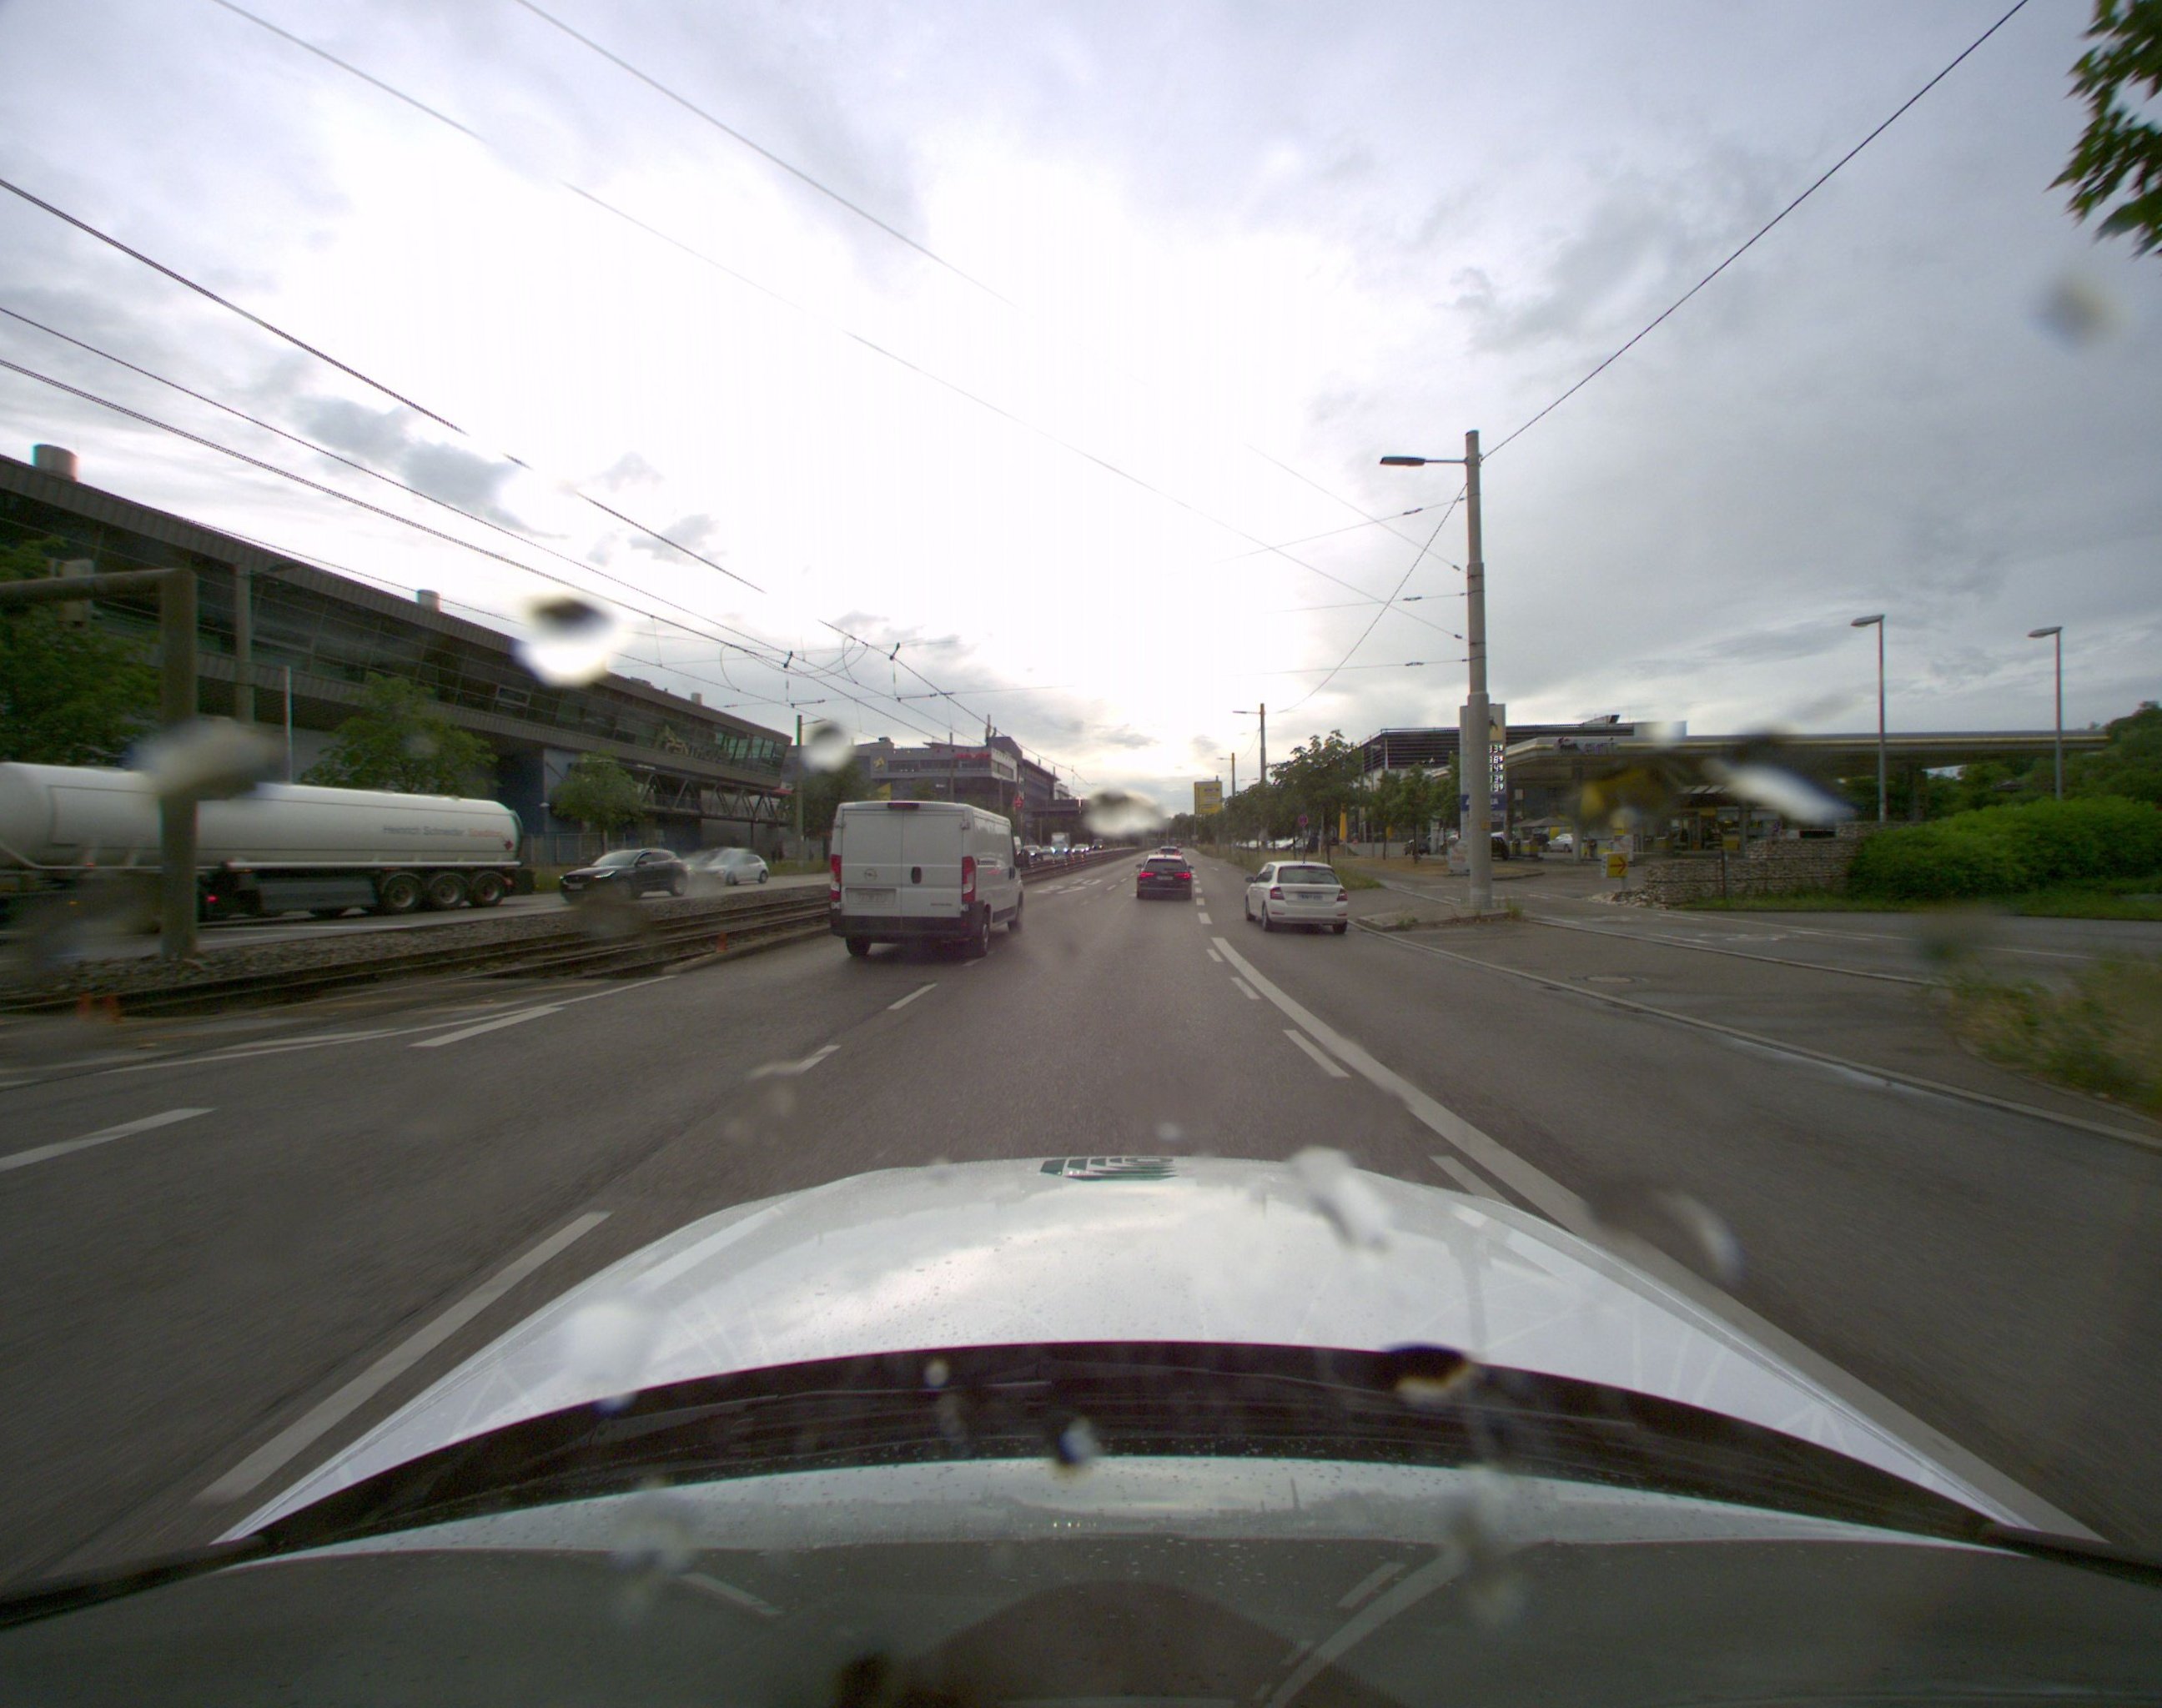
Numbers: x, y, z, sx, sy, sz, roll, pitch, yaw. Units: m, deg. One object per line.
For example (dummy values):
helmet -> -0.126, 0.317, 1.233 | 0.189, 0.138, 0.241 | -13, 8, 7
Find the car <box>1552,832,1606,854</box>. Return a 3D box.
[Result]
car -> 38.084, -0.797, 62.419 | 1.983, 1.596, 4.007 | -1, 0, 6

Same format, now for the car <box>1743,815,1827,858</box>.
car -> 34.807, -0.841, 40.361 | 1.666, 2.013, 3.144 | 2, 1, 7

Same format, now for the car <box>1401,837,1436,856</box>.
car -> 30.055, -0.665, 72.638 | 1.782, 1.591, 4.007 | -1, 0, 6

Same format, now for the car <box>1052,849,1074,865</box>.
car -> -2.181, 0.373, 99.120 | 2.148, 1.885, 4.308 | 2, 1, 5

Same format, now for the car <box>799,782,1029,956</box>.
car -> -2.383, 0.169, 13.263 | 2.435, 2.294, 4.910 | 0, 1, 4

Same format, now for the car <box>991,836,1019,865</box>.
car -> -7.572, -0.363, 81.644 | 2.151, 2.722, 5.068 | 2, 1, 1

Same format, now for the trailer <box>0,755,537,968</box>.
trailer -> -19.559, 0.163, 20.477 | 2.708, 3.854, 11.258 | -2, 0, 9

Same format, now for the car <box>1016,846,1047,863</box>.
car -> -4.683, 0.030, 78.228 | 1.789, 1.620, 4.970 | -1, 0, 10

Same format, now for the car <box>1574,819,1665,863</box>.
car -> 26.292, -0.618, 39.949 | 1.985, 2.032, 4.005 | -1, 0, 4

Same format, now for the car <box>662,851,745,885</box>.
car -> -21.102, 0.739, 45.737 | 1.789, 1.819, 4.746 | -1, 0, 10

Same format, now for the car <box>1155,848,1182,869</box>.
car -> 6.346, 0.338, 58.714 | 1.884, 1.465, 3.917 | 0, 0, 7

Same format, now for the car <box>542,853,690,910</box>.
car -> -14.802, 0.822, 26.238 | 1.911, 1.653, 4.207 | 0, 0, 9

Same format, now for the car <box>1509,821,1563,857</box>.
car -> 27.400, -0.889, 49.146 | 1.670, 2.013, 3.550 | 2, 1, 8

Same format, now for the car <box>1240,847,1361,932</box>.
car -> 4.690, 0.689, 17.981 | 1.821, 1.656, 4.004 | 0, 0, 4

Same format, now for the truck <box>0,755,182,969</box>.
truck -> -20.563, 0.187, 14.497 | 2.729, 3.805, 5.426 | -2, 0, 9

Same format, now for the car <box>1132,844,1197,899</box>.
car -> 2.753, 0.530, 27.543 | 1.985, 1.637, 4.004 | 2, 1, 4

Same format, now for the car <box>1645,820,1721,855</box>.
car -> 36.145, -0.980, 49.040 | 1.862, 2.013, 3.777 | 2, 1, 3

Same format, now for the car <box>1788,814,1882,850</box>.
car -> 44.931, -1.273, 48.660 | 1.985, 2.013, 4.003 | 2, 1, 3

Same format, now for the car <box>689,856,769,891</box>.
car -> -16.390, 0.858, 38.168 | 1.555, 1.510, 4.000 | 0, 0, 8

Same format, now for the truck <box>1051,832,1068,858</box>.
truck -> -3.204, -1.369, 121.954 | 2.151, 3.645, 6.875 | 2, 1, 1
